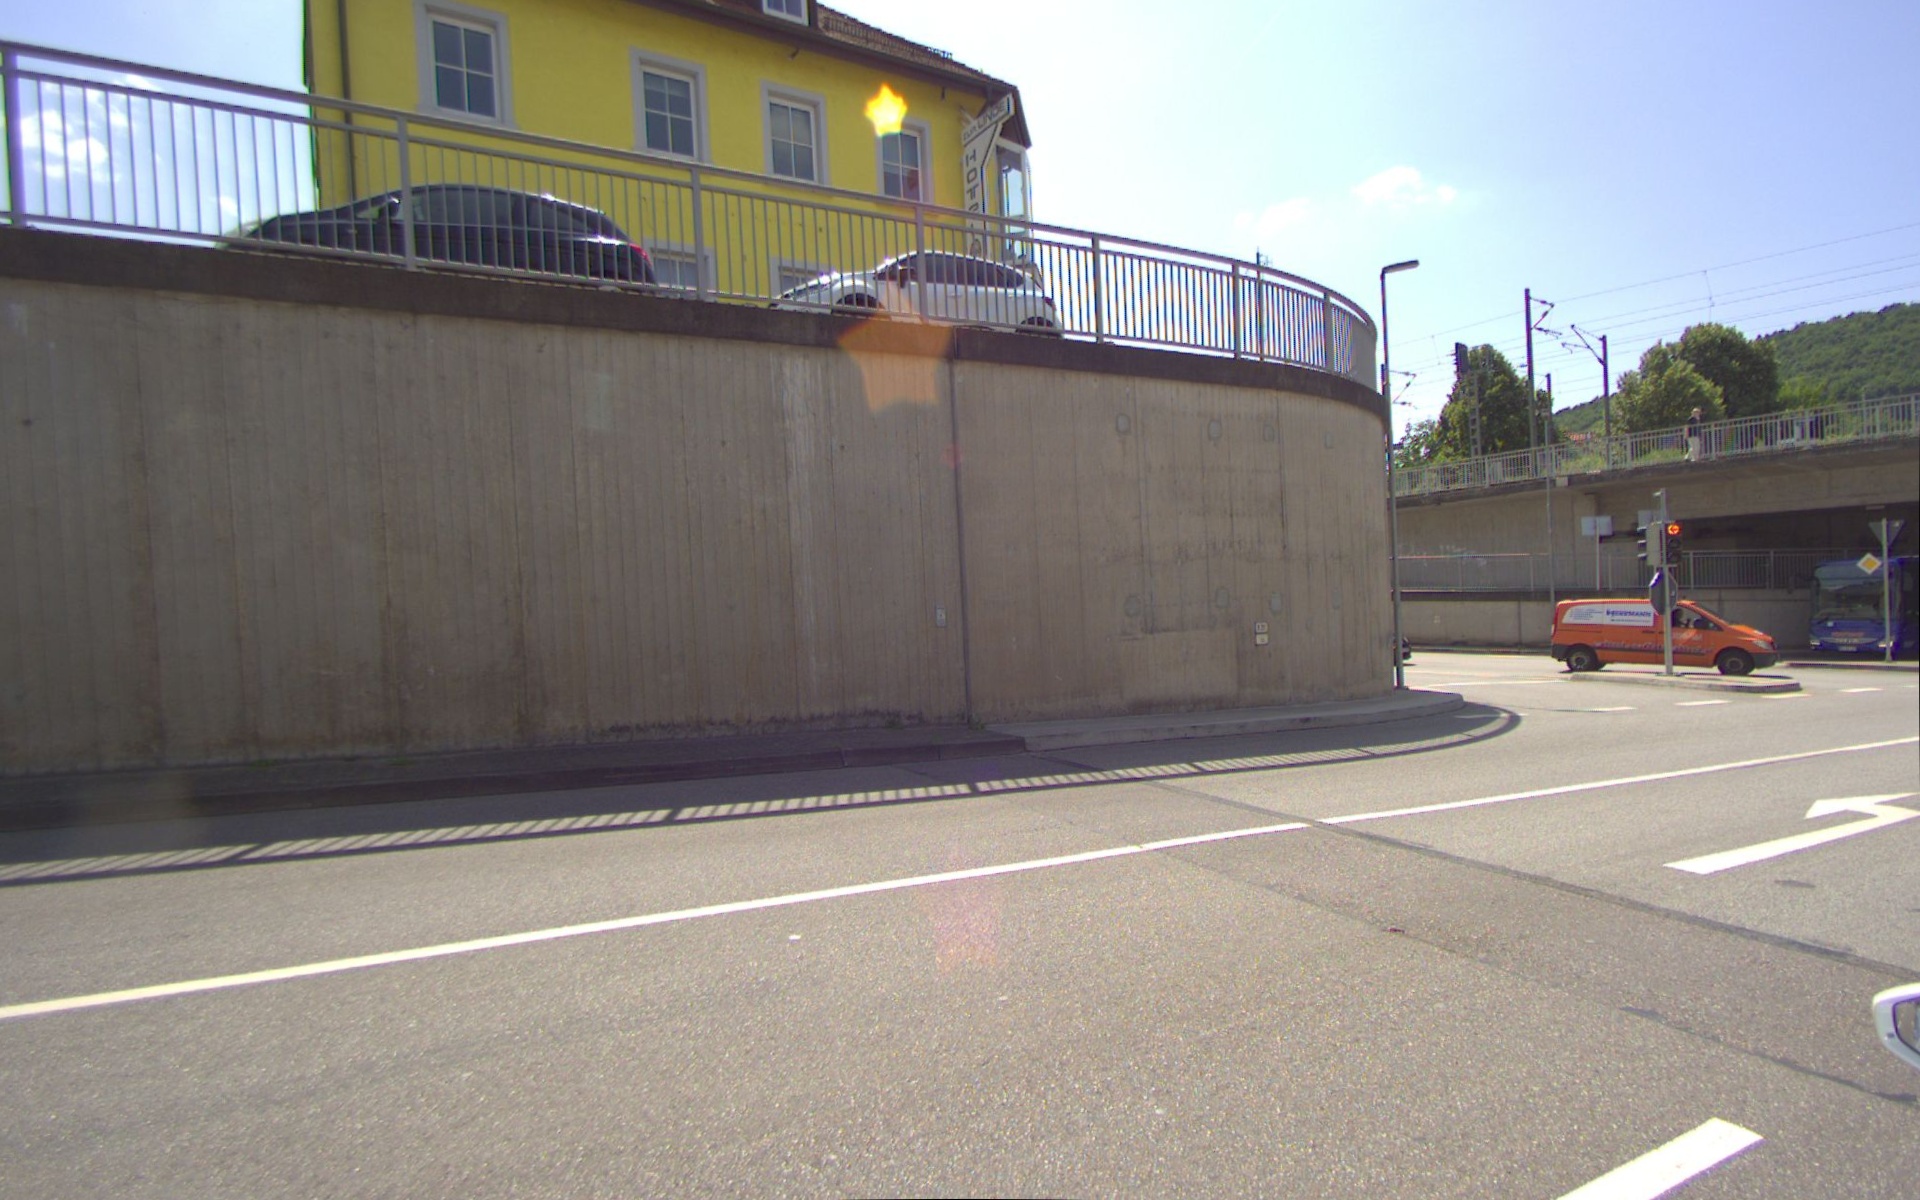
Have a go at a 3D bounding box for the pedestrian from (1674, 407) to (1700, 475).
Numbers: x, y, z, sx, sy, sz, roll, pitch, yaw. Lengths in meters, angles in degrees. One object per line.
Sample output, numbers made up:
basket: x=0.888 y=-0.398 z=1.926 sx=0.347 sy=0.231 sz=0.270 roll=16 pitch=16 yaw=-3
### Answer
pedestrian: x=24.060 y=-5.240 z=33.251 sx=0.531 sy=2.108 sz=0.571 roll=0 pitch=-1 yaw=-40

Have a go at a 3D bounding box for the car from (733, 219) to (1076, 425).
car: x=-0.662 y=-3.356 z=12.843 sx=3.955 sy=1.690 sz=1.892 roll=-2 pitch=1 yaw=-32

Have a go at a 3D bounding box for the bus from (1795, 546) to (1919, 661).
bus: x=31.766 y=-0.060 z=30.760 sx=12.160 sy=3.215 sz=2.583 roll=-2 pitch=1 yaw=-12

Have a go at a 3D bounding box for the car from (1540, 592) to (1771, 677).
car: x=17.744 y=0.828 z=25.772 sx=4.653 sy=1.958 sz=1.868 roll=-1 pitch=1 yaw=43

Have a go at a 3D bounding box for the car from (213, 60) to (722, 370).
car: x=-4.714 y=-3.543 z=10.010 sx=4.175 sy=1.728 sz=1.812 roll=-2 pitch=1 yaw=-32

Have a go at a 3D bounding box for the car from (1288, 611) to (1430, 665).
car: x=12.700 y=1.156 z=32.213 sx=1.974 sy=1.528 sz=3.973 roll=-1 pitch=0 yaw=-26
